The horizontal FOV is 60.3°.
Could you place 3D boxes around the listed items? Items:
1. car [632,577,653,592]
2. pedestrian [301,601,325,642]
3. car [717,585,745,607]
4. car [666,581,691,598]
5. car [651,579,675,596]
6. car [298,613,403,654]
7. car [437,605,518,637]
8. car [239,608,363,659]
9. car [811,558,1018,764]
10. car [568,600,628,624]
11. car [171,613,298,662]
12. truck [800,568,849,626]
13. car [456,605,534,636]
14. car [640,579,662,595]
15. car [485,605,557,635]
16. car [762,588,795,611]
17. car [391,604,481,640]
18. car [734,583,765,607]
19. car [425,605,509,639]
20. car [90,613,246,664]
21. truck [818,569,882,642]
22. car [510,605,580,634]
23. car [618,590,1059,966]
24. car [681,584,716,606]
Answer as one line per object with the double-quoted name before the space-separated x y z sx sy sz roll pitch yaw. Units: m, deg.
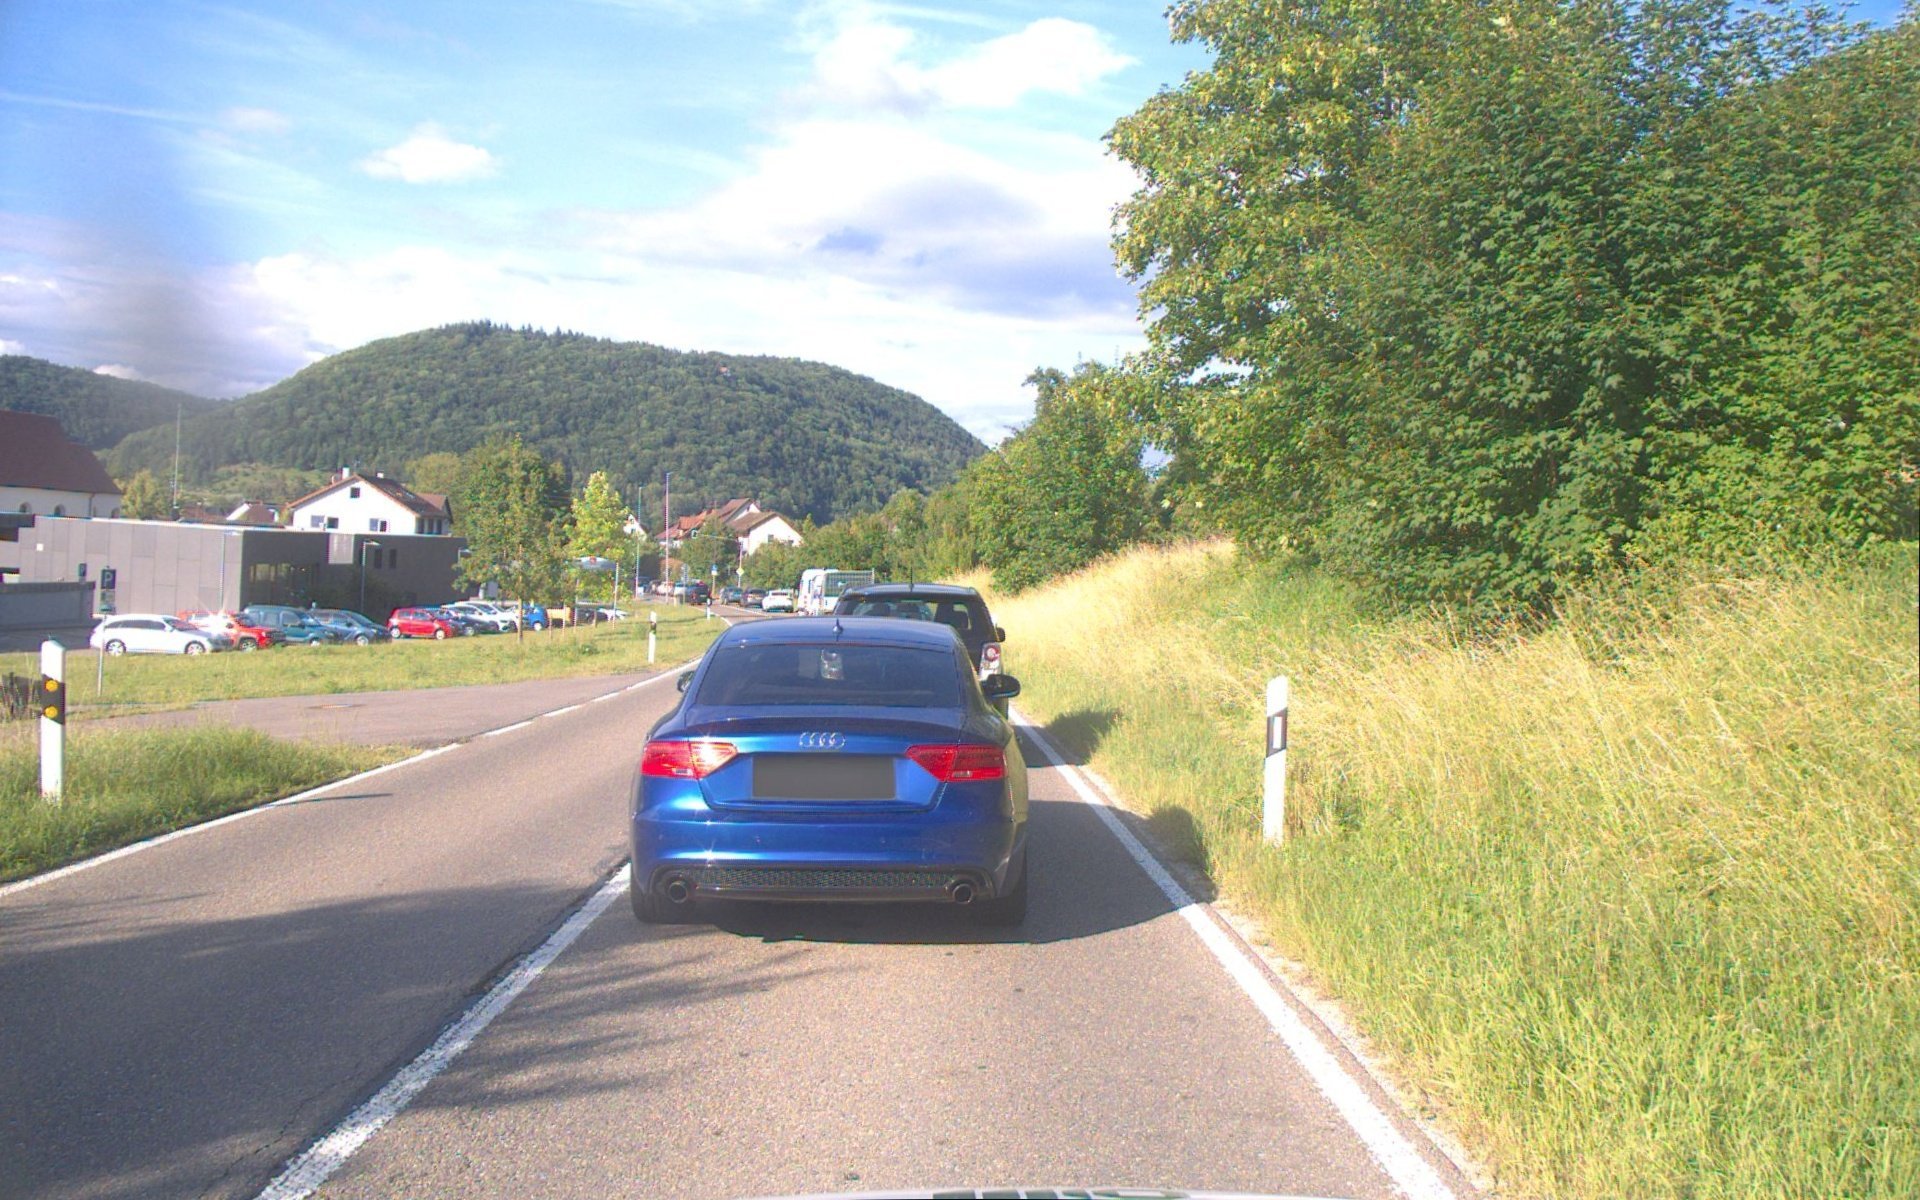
"car" -37.131 -1.797 193.531 1.818 1.742 3.977 1 0 -20
"pedestrian" -32.827 1.075 83.879 0.808 2.049 0.973 1 -1 -1
"car" -18.982 -0.338 137.000 1.815 1.742 3.984 1 0 -15
"car" -28.977 -1.086 170.125 1.818 1.742 3.977 1 0 -20
"car" -31.942 -1.368 177.741 1.818 1.742 3.976 1 0 -20
"car" -26.975 1.484 73.315 3.907 1.741 1.999 1 0 -3
"car" -26.764 1.159 91.819 3.907 1.741 1.999 1 0 -3
"car" -27.369 1.384 68.806 4.318 2.043 1.999 1 0 -3
"car" -0.379 0.524 15.852 1.718 1.710 3.846 1 0 0
"car" -25.820 0.861 118.145 3.907 1.606 1.751 1 0 -3
"car" -27.591 1.420 62.992 3.907 1.741 1.999 1 0 -3
"truck" -6.467 -0.122 78.923 2.186 2.615 6.701 1 0 -5
"car" -26.714 1.177 95.104 3.907 1.741 1.999 1 0 -3
"car" -34.788 -1.436 186.090 1.818 1.742 3.976 1 0 -20
"car" -26.743 1.207 100.891 3.907 1.741 1.999 1 0 -3
"car" -12.080 -0.035 109.976 1.813 1.508 3.988 1 0 -12
"car" -26.466 1.121 83.619 3.907 1.741 1.999 1 0 -3
"car" -15.894 -0.371 124.902 1.815 1.742 3.984 1 0 -15
"car" -26.241 1.149 88.171 3.907 1.741 1.999 1 0 -3
"car" -28.654 1.386 59.967 4.637 1.741 1.999 1 0 -3
"truck" -4.228 0.209 62.539 2.187 2.615 6.096 1 0 -6
"car" -25.968 1.234 103.577 3.907 1.741 1.999 1 0 -3
"car" -0.474 0.713 8.449 1.718 1.455 3.846 1 0 0
"car" -20.992 -0.394 132.751 1.821 1.742 3.970 1 0 -24
